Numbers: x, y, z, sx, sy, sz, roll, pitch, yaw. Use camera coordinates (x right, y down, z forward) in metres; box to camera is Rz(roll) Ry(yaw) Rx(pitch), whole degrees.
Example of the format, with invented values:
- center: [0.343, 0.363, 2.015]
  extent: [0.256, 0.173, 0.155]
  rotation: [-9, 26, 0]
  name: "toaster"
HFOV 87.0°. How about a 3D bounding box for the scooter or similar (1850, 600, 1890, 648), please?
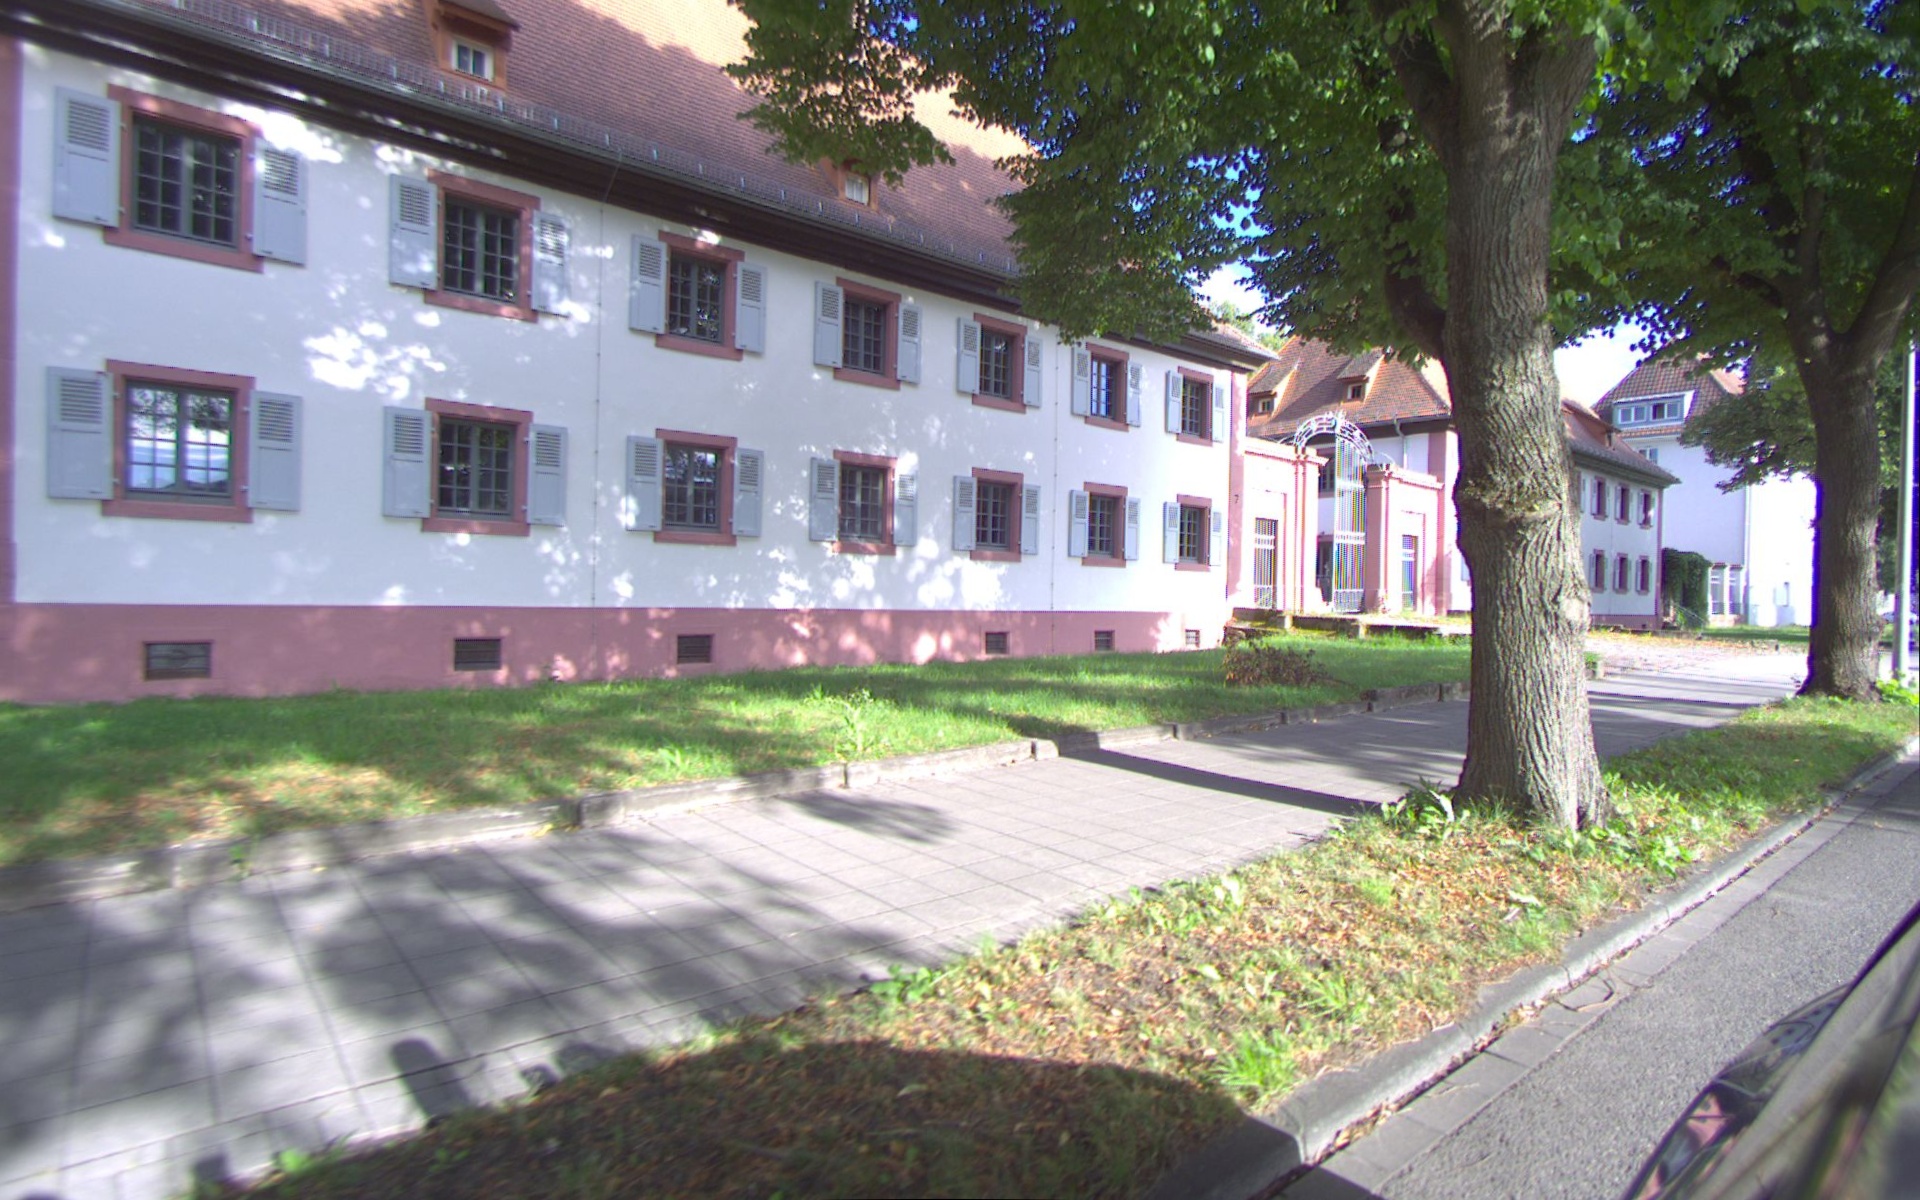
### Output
- center: [26.341, 0.687, 29.291]
  extent: [1.356, 1.307, 0.581]
  rotation: [1, 2, -39]
  name: "scooter or similar"
